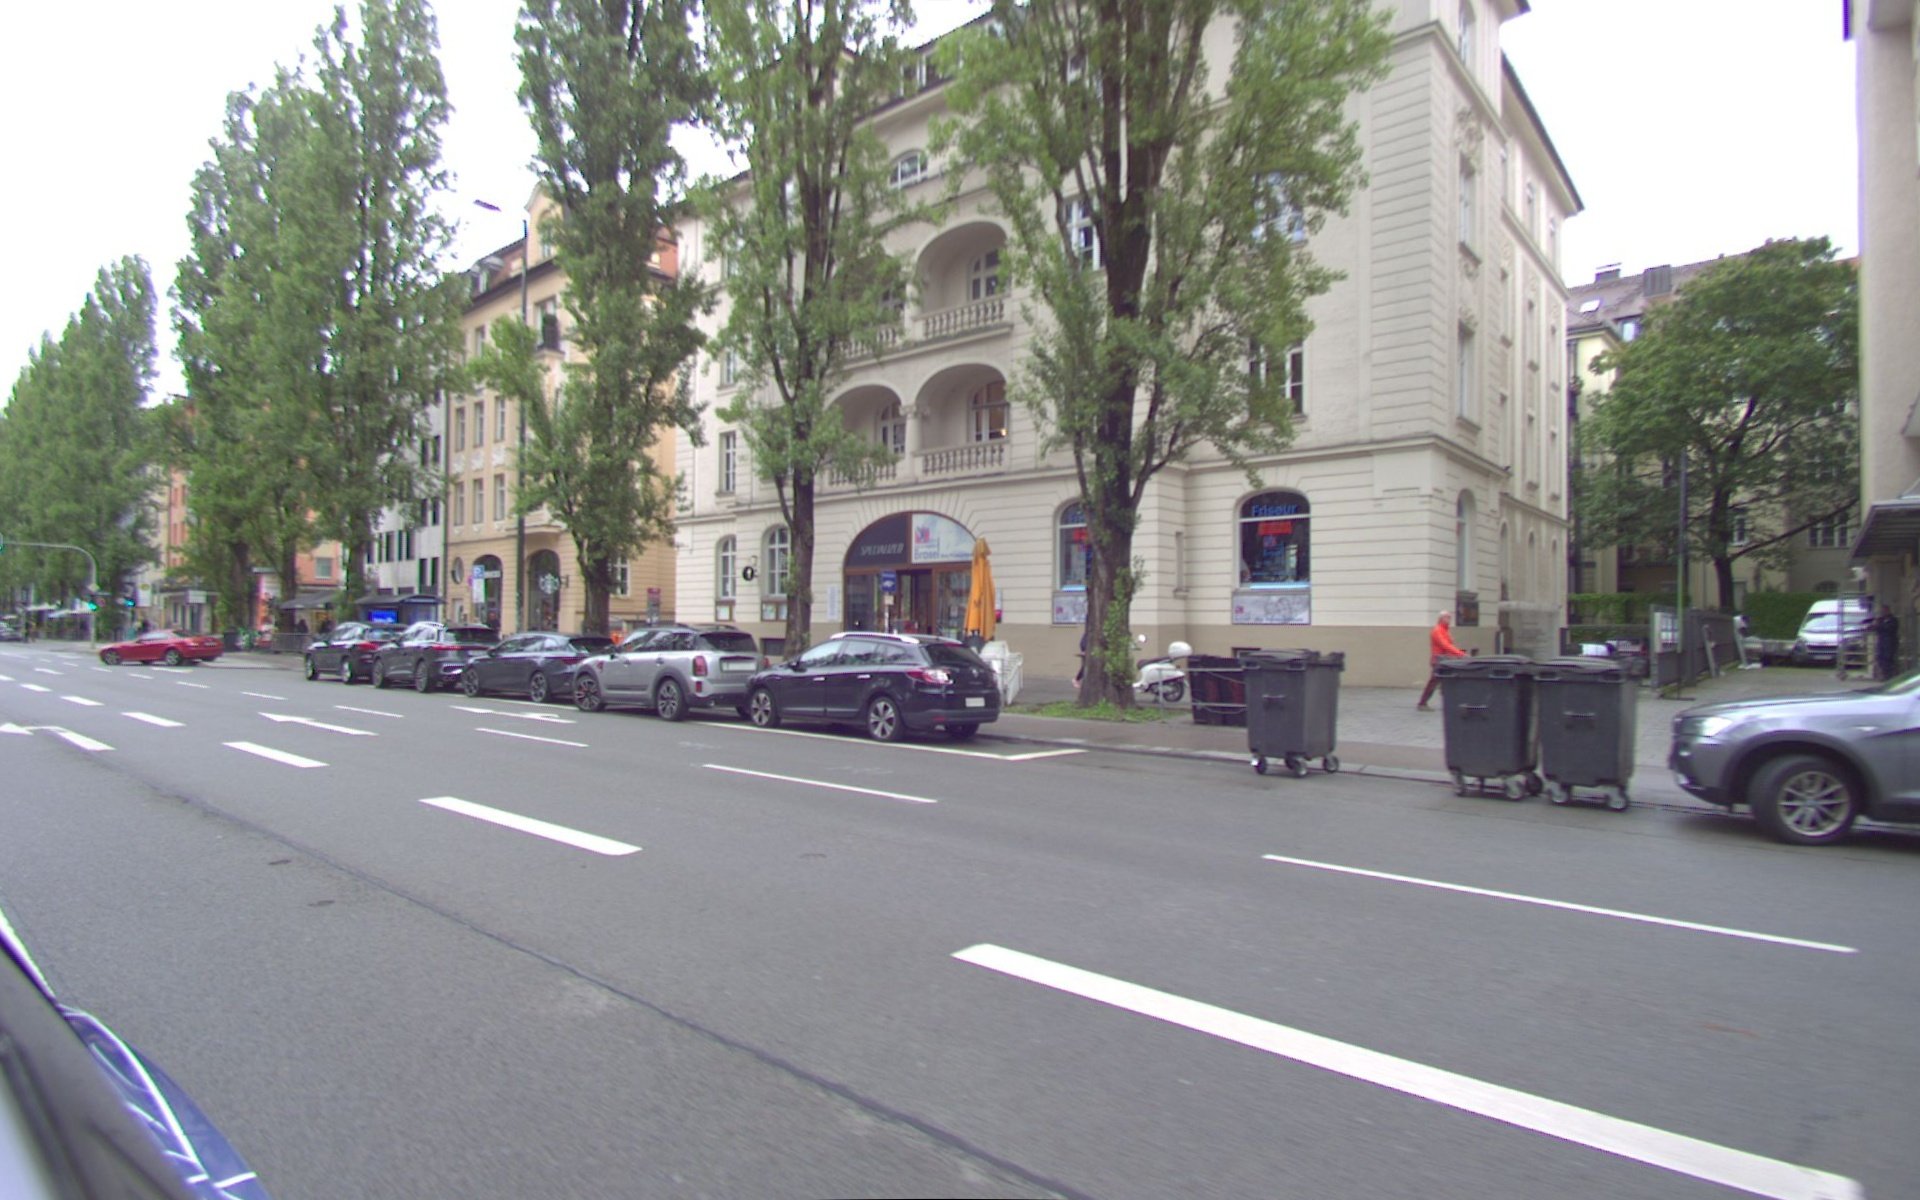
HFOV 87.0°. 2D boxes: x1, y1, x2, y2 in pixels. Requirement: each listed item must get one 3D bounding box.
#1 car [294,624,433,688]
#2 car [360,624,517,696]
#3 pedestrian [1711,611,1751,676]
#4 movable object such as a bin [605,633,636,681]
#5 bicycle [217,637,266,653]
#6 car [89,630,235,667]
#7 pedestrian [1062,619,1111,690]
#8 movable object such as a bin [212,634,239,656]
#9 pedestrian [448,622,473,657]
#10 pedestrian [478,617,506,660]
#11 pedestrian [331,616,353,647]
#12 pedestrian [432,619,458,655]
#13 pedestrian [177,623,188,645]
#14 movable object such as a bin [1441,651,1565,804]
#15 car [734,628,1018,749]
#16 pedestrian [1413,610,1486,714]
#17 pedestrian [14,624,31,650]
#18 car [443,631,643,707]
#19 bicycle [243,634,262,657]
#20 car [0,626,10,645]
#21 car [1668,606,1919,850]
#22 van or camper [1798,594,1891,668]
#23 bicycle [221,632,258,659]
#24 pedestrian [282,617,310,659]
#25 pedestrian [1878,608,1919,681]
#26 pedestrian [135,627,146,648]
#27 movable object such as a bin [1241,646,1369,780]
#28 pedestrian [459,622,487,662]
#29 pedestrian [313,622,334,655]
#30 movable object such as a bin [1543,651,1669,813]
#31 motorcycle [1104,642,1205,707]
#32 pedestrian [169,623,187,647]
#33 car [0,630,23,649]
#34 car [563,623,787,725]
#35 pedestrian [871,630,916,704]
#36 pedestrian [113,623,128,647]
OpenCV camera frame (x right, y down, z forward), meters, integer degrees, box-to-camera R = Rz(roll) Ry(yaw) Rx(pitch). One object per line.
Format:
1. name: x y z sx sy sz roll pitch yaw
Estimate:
1. car: -16.568 1.483 28.025 4.711 1.630 1.802 -1 -2 39
2. car: -12.751 1.401 24.611 4.628 1.607 1.784 -1 -3 41
3. pedestrian: 20.564 1.160 26.978 0.762 1.706 0.618 -2 -3 43
4. movable object such as a bin: -9.462 1.587 28.239 0.586 1.326 0.598 -1 -2 41
5. bicycle: -38.357 2.395 54.055 0.827 0.514 1.940 22 8 21
6. car: -29.629 1.785 37.638 4.041 1.308 1.883 0 -2 4
7. pedestrian: 2.831 1.202 22.632 0.804 1.549 0.760 -1 -1 40
8. movable object such as a bin: -36.262 2.218 49.948 0.847 1.049 0.722 -1 0 12
9. pedestrian: -22.983 1.820 46.581 0.989 1.579 0.742 -1 -1 42
10. pedestrian: -20.454 1.674 44.189 0.911 1.801 0.791 -2 -1 41
11. pedestrian: -34.767 1.762 56.913 0.954 1.757 0.835 -1 -1 42
12. pedestrian: -23.352 1.675 45.855 0.989 1.579 0.742 -1 -1 42
13. pedestrian: -63.134 2.756 82.129 0.513 1.704 0.580 -1 -2 41
14. movable object such as a bin: 5.262 1.174 9.783 0.825 1.327 1.247 -2 -2 39
15. car: -1.345 1.207 14.871 4.311 1.516 1.645 -1 -4 42
16. pedestrian: 8.268 1.024 17.100 0.952 1.685 0.726 -1 -1 41
17. pedestrian: -69.035 2.713 74.516 0.725 1.809 0.995 0 0 -31
18. car: -8.879 1.407 21.408 4.679 1.435 1.669 -1 -4 36
19. bicycle: -35.231 2.256 50.385 0.499 1.096 1.815 0 0 -26
20. car: -81.213 2.936 84.982 4.094 1.595 1.685 -1 -3 41
21. car: 7.843 0.915 7.071 4.611 1.667 1.846 -1 -4 40
22. van or camper: 31.280 1.106 35.744 4.804 2.444 2.002 2 -2 -43
23. bicycle: -36.591 2.308 51.418 0.501 1.299 1.955 -1 0 -2
24. pedestrian: -29.996 1.718 45.716 0.895 1.756 0.821 -3 5 -44
25. pedestrian: 22.307 1.042 23.983 0.762 1.706 0.618 -2 -3 43
26. pedestrian: -68.465 3.115 84.537 0.519 1.701 0.623 -1 -1 42
27. movable object such as a bin: 3.760 1.177 10.999 0.901 1.320 1.264 -1 -2 41
28. pedestrian: -20.966 1.785 43.569 0.977 1.694 0.724 -2 -1 41
29. pedestrian: -34.613 2.085 55.055 0.941 1.753 0.719 -1 -1 40
30. movable object such as a bin: 5.937 1.149 9.282 0.819 1.327 1.300 -1 -2 39
31. motorcycle: 3.611 1.361 18.837 1.806 1.148 0.473 0 -2 28
32. pedestrian: -54.139 2.437 70.056 0.934 1.631 0.770 -2 -2 40
33. car: -75.271 3.100 79.536 4.586 1.449 1.686 -1 -3 39
34. car: -5.057 1.228 17.700 4.130 1.587 1.763 -2 -4 41
35. pedestrian: -1.449 1.450 22.126 0.784 1.549 0.679 -1 0 20
36. pedestrian: -62.023 2.589 74.739 0.778 1.784 0.716 -2 -2 42
